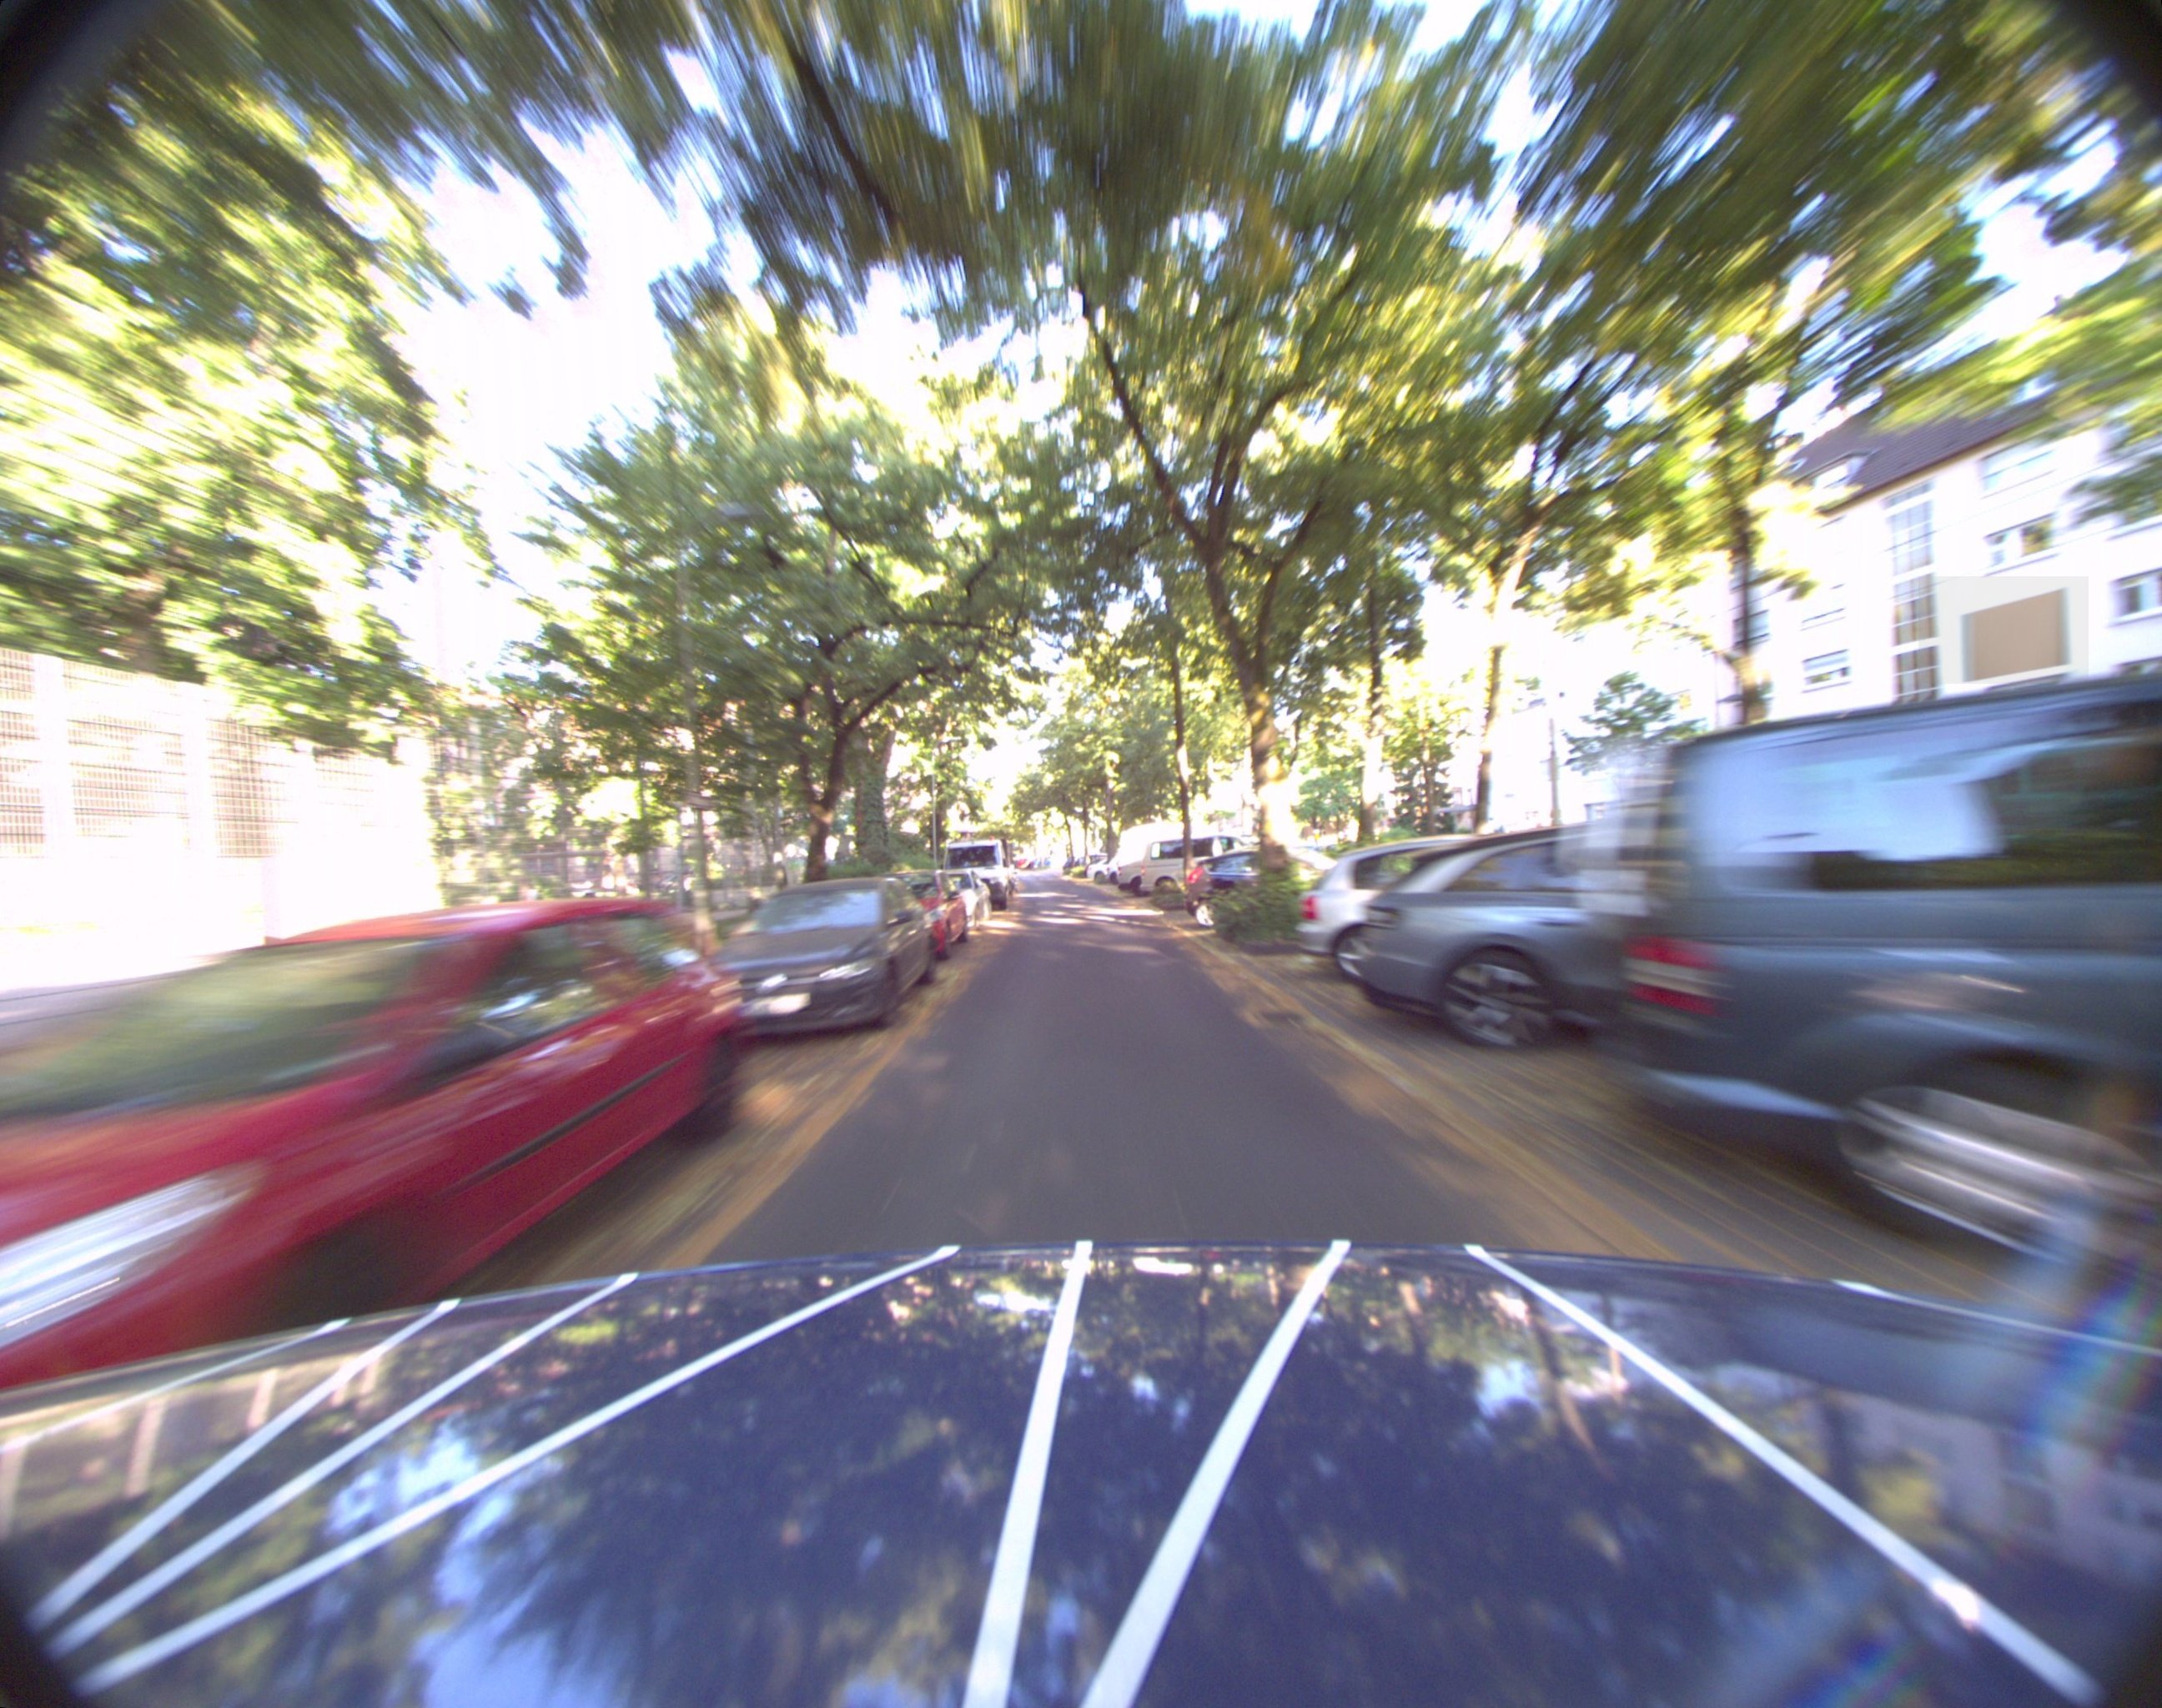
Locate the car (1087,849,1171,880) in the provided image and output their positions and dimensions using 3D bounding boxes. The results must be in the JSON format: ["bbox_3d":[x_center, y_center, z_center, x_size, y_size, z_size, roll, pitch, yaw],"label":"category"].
[{"bbox_3d":[2.841,0.633,44.995,4.456,1.396,1.859,-6,0,25],"label":"car"}]

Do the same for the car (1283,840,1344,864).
[{"bbox_3d":[16.455,-0.139,53.769,3.873,1.436,1.857,-3,1,26],"label":"car"}]

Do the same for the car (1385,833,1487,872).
[{"bbox_3d":[19.418,-0.061,41.634,4.806,2.002,2.004,-2,1,33],"label":"car"}]

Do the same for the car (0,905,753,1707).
[{"bbox_3d":[-2.903,1.097,3.012,1.595,1.445,3.554,-3,0,0],"label":"car"}]

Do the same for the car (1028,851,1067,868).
[{"bbox_3d":[-4.123,0.642,93.487,4.435,1.613,1.636,-6,2,16],"label":"car"}]

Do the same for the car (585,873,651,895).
[{"bbox_3d":[-34.413,2.191,56.526,4.007,1.401,1.795,-1,0,-36],"label":"car"}]

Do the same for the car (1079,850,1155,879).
[{"bbox_3d":[2.255,0.673,47.883,4.305,1.396,1.746,-6,0,22],"label":"car"}]

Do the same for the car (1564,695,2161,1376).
[{"bbox_3d":[4.392,0.385,2.392,4.702,1.931,1.937,-5,1,33],"label":"car"}]

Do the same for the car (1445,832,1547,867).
[{"bbox_3d":[19.244,-0.213,35.404,3.991,1.419,1.775,-3,1,24],"label":"car"}]

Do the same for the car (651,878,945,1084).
[{"bbox_3d":[-2.661,1.100,8.188,1.677,1.445,3.948,-3,0,-1],"label":"car"}]

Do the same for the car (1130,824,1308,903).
[{"bbox_3d":[4.239,0.304,23.517,4.875,1.966,2.048,-5,1,29],"label":"car"}]

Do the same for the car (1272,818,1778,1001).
[{"bbox_3d":[4.364,0.588,8.042,4.084,1.479,1.786,-6,1,31],"label":"car"}]

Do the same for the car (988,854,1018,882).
[{"bbox_3d":[-5.265,0.920,51.071,1.792,1.698,4.374,-3,0,-6],"label":"car"}]

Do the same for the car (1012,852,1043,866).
[{"bbox_3d":[-8.065,0.727,115.525,4.236,1.658,1.636,-6,2,16],"label":"car"}]

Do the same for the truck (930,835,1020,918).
[{"bbox_3d":[-3.486,0.663,26.479,2.302,2.372,6.932,-3,0,-2],"label":"truck"}]

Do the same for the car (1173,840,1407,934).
[{"bbox_3d":[3.964,0.652,14.564,3.815,1.430,1.828,-5,1,34],"label":"car"}]

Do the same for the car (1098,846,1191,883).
[{"bbox_3d":[3.245,0.557,38.778,4.235,1.432,1.859,-6,1,25],"label":"car"}]

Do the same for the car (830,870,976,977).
[{"bbox_3d":[-2.978,1.098,13.556,1.677,1.445,3.948,-3,0,-1],"label":"car"}]

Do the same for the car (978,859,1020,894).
[{"bbox_3d":[-3.810,1.020,35.728,1.677,1.450,3.892,-3,0,-3],"label":"car"}]

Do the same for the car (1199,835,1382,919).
[{"bbox_3d":[4.714,0.519,17.118,3.542,1.485,1.828,-6,1,29],"label":"car"}]

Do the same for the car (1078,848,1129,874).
[{"bbox_3d":[1.672,0.537,56.900,3.346,1.559,1.574,-6,0,23],"label":"car"}]

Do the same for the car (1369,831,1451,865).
[{"bbox_3d":[19.212,-0.315,44.421,4.309,1.807,1.816,-2,1,25],"label":"car"}]

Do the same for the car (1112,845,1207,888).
[{"bbox_3d":[3.399,0.539,33.036,3.542,1.485,1.828,-6,1,29],"label":"car"}]

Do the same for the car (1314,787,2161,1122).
[{"bbox_3d":[4.256,0.583,5.285,4.560,1.532,1.937,-6,1,33],"label":"car"}]

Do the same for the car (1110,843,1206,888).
[{"bbox_3d":[3.645,0.543,35.977,4.032,1.653,1.859,-6,1,22],"label":"car"}]

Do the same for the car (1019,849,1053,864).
[{"bbox_3d":[-6.337,0.336,106.927,4.236,1.658,1.636,-6,2,16],"label":"car"}]

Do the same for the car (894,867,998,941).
[{"bbox_3d":[-3.125,1.113,18.388,1.676,1.389,4.298,-3,0,0],"label":"car"}]

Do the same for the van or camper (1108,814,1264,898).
[{"bbox_3d":[3.690,0.078,26.803,4.875,2.456,2.048,-5,1,26],"label":"van or camper"}]
